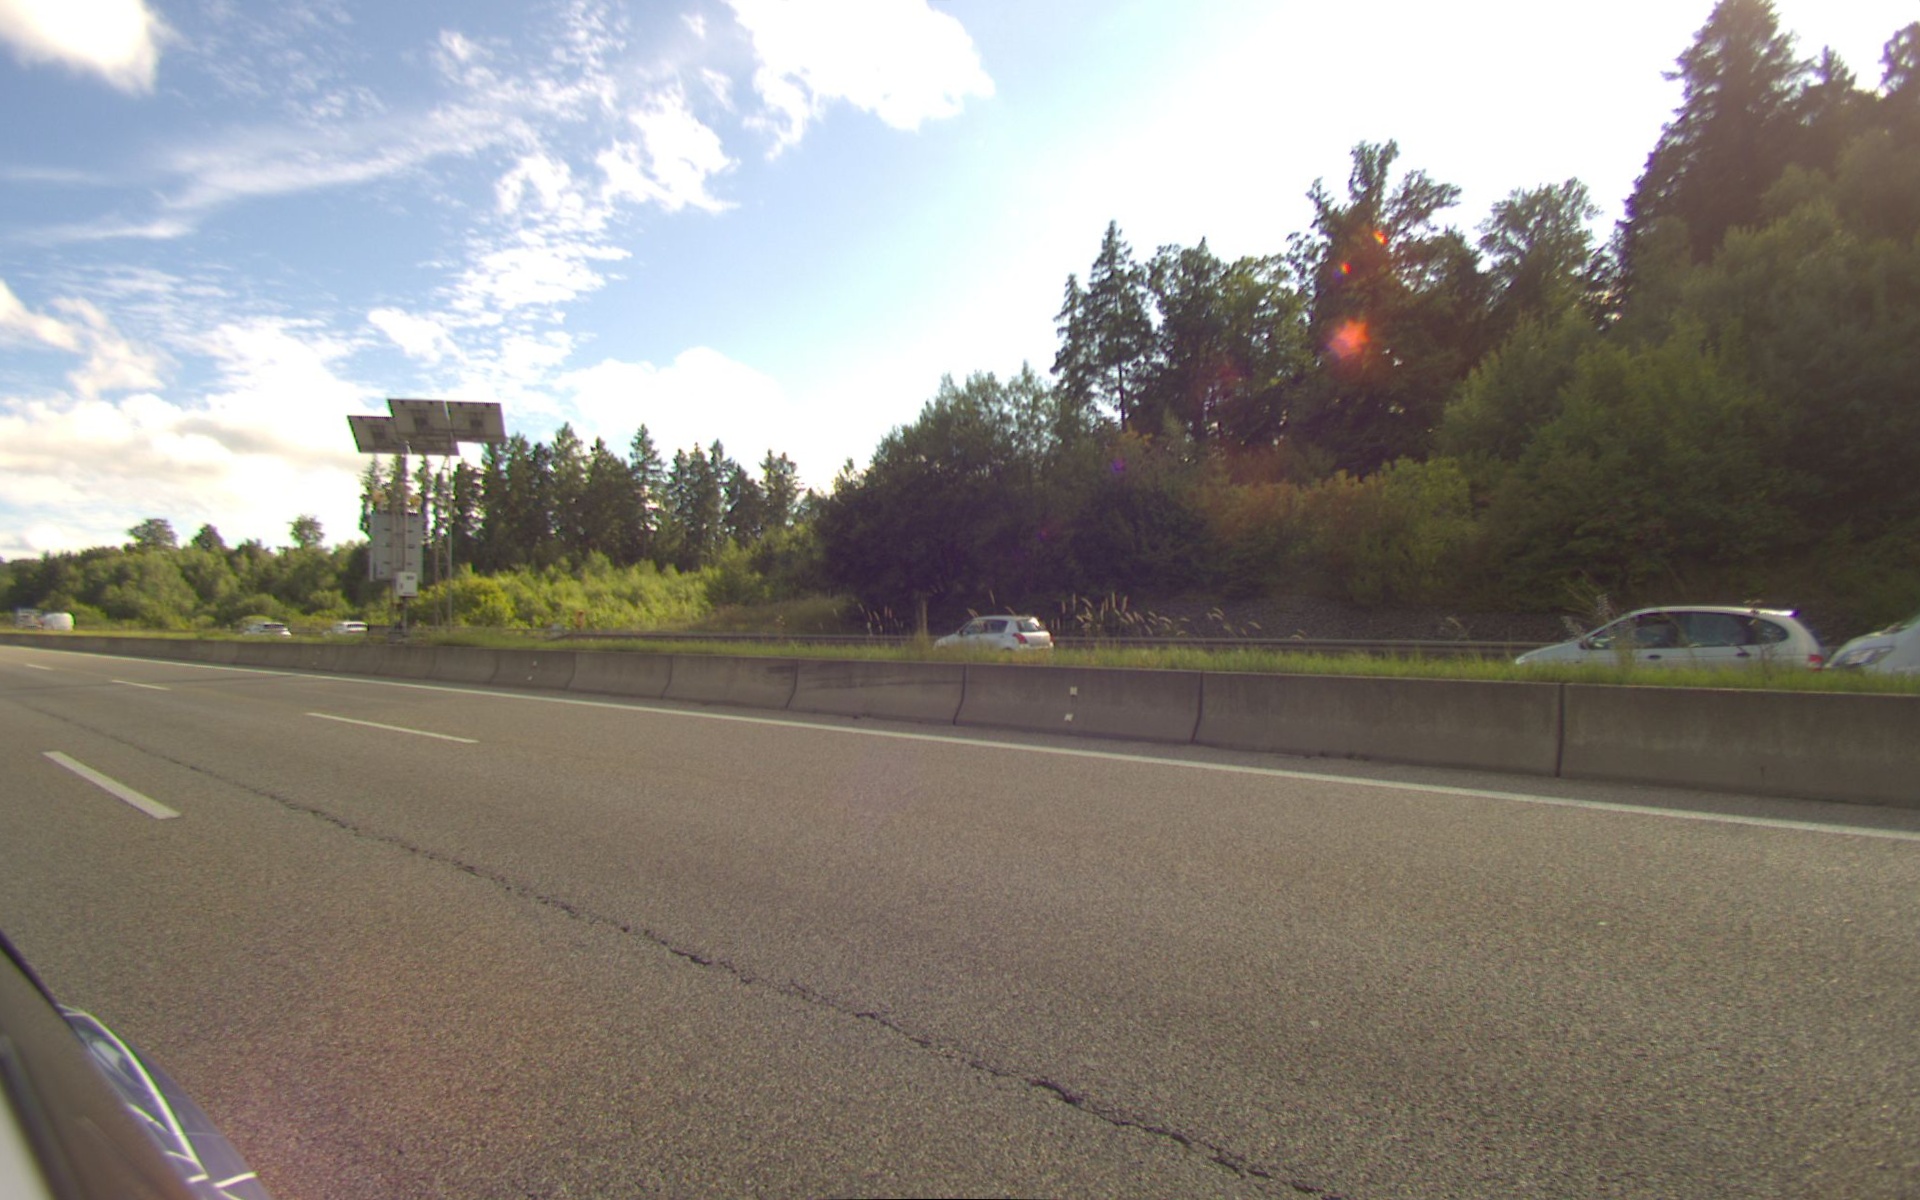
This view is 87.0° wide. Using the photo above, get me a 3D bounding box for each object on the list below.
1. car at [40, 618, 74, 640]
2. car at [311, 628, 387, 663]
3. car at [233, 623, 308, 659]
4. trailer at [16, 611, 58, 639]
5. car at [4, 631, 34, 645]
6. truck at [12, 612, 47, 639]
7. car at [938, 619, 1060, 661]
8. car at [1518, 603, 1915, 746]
[{"bbox_3d":[-103.008,3.315,115.403,6.721,2.330,2.087,-2,-1,41],"label":"car"},{"bbox_3d":[-39.196,2.875,64.879,5.963,2.155,2.552,-2,-1,42],"label":"car"},{"bbox_3d":[-43.881,2.576,64.337,5.963,2.155,2.552,-2,-1,42],"label":"car"},{"bbox_3d":[-132.840,3.665,145.550,12.203,3.867,3.091,-2,-1,41],"label":"trailer"},{"bbox_3d":[-99.861,4.000,107.356,3.999,1.464,1.972,-2,-1,42],"label":"car"},{"bbox_3d":[-138.268,3.804,150.339,7.119,3.867,3.082,-2,-1,41],"label":"truck"},{"bbox_3d":[1.074,1.106,28.530,3.172,1.102,1.575,-2,-1,42],"label":"car"},{"bbox_3d":[11.076,1.000,15.094,4.491,1.819,1.904,-2,-1,42],"label":"car"}]
